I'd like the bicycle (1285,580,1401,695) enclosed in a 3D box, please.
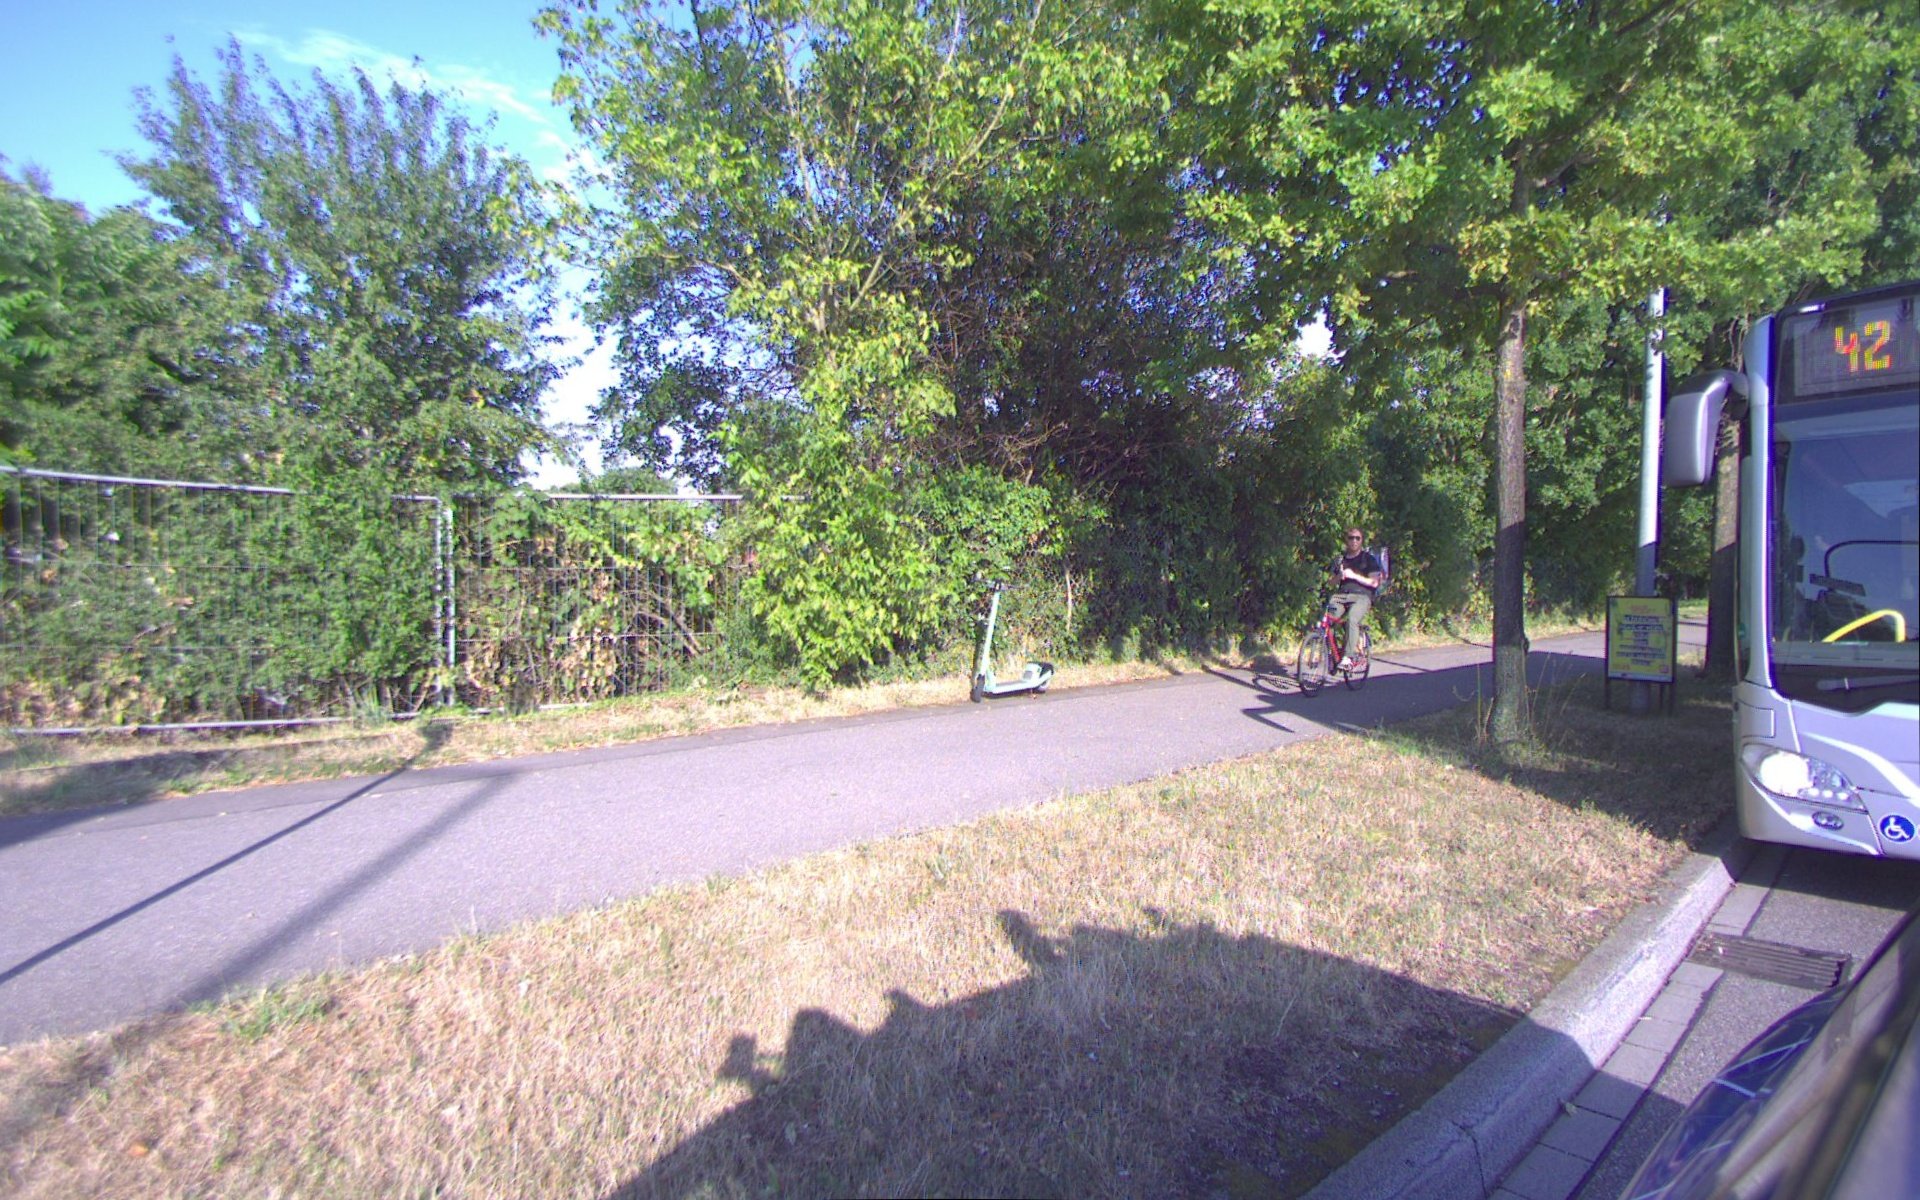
[{"bbox_3d":[4.322,0.395,11.352,1.860,1.172,0.415,1,3,-45],"label":"bicycle"}]

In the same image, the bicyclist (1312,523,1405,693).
[{"bbox_3d":[4.568,0.068,11.602,0.816,1.852,0.620,-1,4,-43],"label":"bicyclist"}]

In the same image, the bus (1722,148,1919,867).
[{"bbox_3d":[8.511,-0.421,8.093,2.588,3.081,11.535,1,1,43],"label":"bus"}]

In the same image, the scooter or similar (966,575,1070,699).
[{"bbox_3d":[0.574,0.339,9.790,1.076,1.139,0.249,0,4,-41],"label":"scooter or similar"}]
